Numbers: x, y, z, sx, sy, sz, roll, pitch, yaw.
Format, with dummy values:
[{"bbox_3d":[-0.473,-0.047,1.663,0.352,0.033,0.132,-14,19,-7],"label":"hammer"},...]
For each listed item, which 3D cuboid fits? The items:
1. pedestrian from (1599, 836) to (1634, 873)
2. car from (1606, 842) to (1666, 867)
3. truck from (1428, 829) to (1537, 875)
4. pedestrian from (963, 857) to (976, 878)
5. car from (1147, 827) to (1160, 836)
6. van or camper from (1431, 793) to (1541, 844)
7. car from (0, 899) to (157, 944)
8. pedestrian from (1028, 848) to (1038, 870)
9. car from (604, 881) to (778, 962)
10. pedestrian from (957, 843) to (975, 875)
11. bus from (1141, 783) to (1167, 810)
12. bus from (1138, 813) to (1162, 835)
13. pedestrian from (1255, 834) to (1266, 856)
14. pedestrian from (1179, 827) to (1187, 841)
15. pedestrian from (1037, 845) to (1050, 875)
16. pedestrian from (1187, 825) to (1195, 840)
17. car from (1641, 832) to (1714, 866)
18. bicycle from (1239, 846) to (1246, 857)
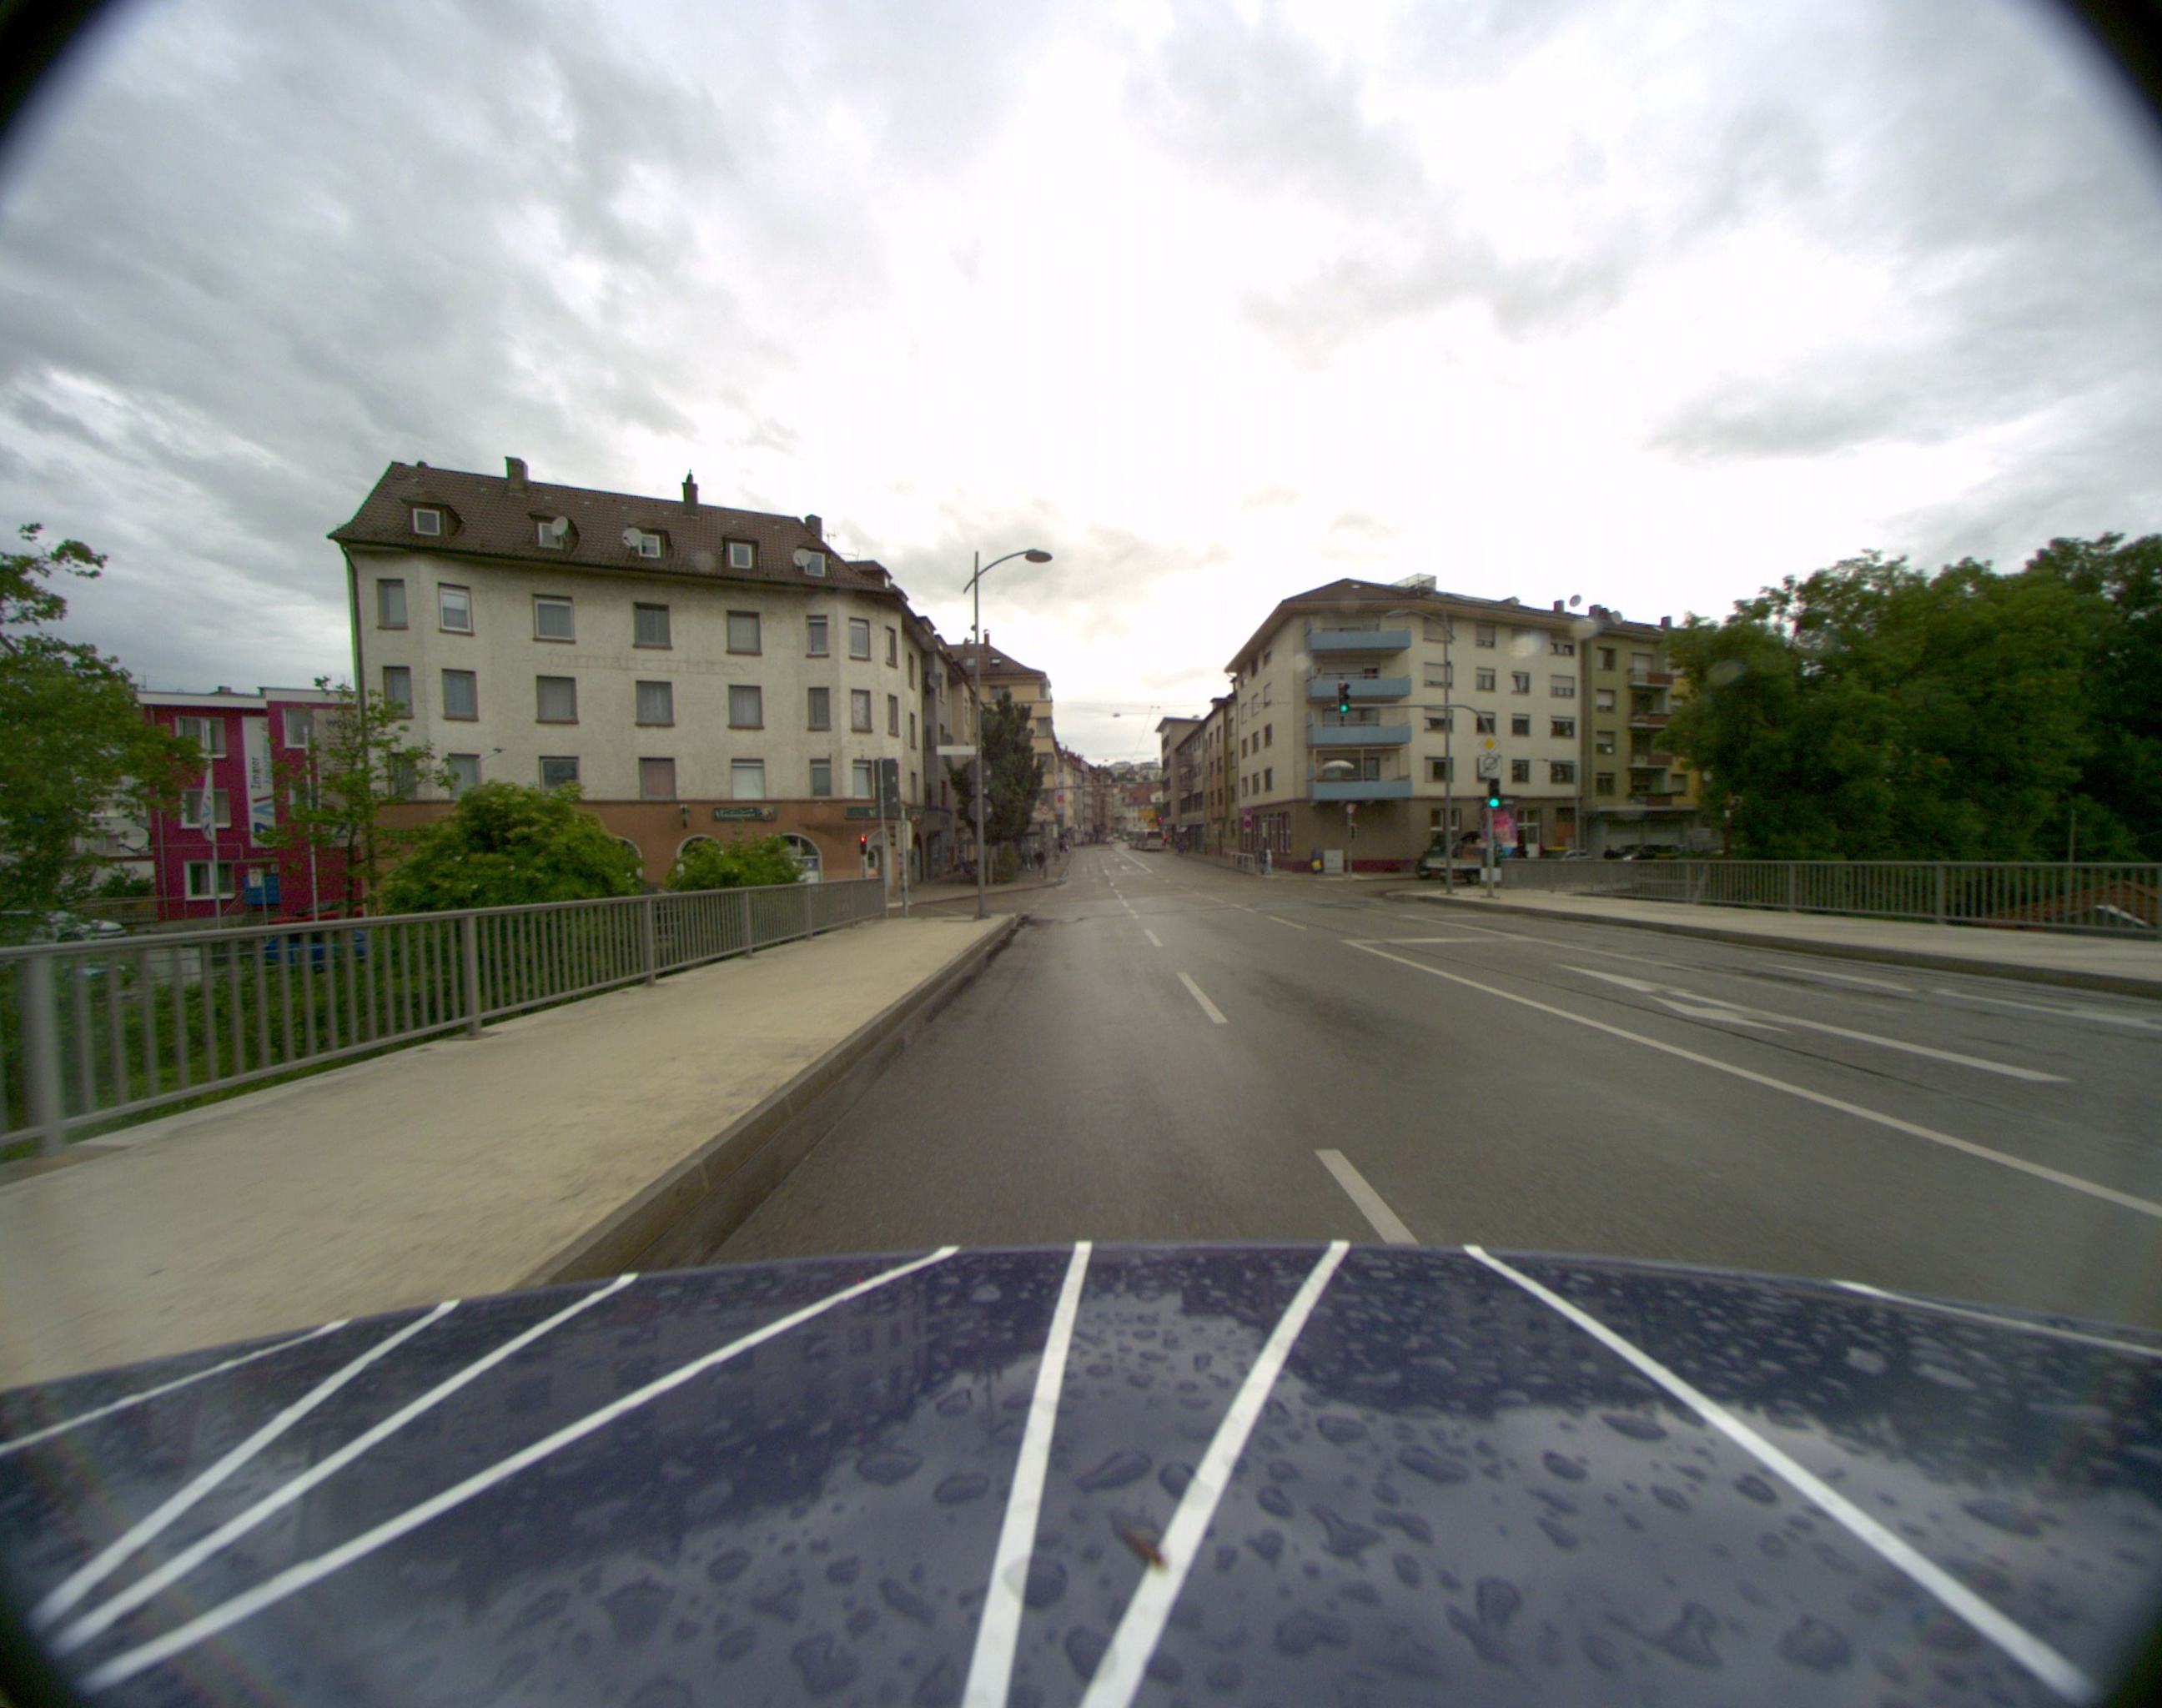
[{"bbox_3d":[26.064,-0.003,36.999,1.073,1.747,1.060,-3,2,-34],"label":"pedestrian"},{"bbox_3d":[36.185,0.007,49.507,3.708,1.490,1.865,-2,2,-31],"label":"car"},{"bbox_3d":[20.620,-0.150,38.958,5.322,2.117,2.402,-2,2,-29],"label":"truck"},{"bbox_3d":[-6.309,0.767,43.039,0.666,1.183,0.557,-2,2,-1],"label":"pedestrian"},{"bbox_3d":[14.482,-4.527,152.005,1.936,1.747,4.571,-2,1,-1],"label":"car"},{"bbox_3d":[23.245,-2.057,43.555,6.491,2.715,1.996,-2,2,-25],"label":"van or camper"},{"bbox_3d":[-39.405,2.596,29.477,4.006,1.543,1.996,2,0,-26],"label":"car"},{"bbox_3d":[-3.743,0.354,59.549,0.620,1.690,0.656,-2,2,5],"label":"pedestrian"},{"bbox_3d":[-12.596,2.107,24.945,4.762,2.002,1.996,-5,1,-22],"label":"car"},{"bbox_3d":[-7.472,0.325,49.419,0.899,2.002,1.200,-2,2,0],"label":"pedestrian"},{"bbox_3d":[10.058,-7.912,105.985,2.732,3.170,9.291,-2,1,1],"label":"bus"},{"bbox_3d":[10.272,-4.436,113.819,2.765,3.170,8.910,-2,1,1],"label":"bus"},{"bbox_3d":[12.647,-0.630,53.549,0.576,1.545,0.739,-2,2,-2],"label":"pedestrian"},{"bbox_3d":[11.880,-2.327,88.349,0.801,1.526,0.711,-2,2,0],"label":"pedestrian"},{"bbox_3d":[-2.344,0.380,47.129,0.735,1.831,0.631,-2,2,-1],"label":"pedestrian"},{"bbox_3d":[12.752,-2.483,87.917,0.839,1.605,0.711,-2,2,0],"label":"pedestrian"},{"bbox_3d":[37.253,-0.327,47.449,4.004,2.002,1.996,-2,2,-24],"label":"car"},{"bbox_3d":[11.754,-0.195,55.213,0.265,0.779,1.111,-2,1,1],"label":"bicycle"}]
